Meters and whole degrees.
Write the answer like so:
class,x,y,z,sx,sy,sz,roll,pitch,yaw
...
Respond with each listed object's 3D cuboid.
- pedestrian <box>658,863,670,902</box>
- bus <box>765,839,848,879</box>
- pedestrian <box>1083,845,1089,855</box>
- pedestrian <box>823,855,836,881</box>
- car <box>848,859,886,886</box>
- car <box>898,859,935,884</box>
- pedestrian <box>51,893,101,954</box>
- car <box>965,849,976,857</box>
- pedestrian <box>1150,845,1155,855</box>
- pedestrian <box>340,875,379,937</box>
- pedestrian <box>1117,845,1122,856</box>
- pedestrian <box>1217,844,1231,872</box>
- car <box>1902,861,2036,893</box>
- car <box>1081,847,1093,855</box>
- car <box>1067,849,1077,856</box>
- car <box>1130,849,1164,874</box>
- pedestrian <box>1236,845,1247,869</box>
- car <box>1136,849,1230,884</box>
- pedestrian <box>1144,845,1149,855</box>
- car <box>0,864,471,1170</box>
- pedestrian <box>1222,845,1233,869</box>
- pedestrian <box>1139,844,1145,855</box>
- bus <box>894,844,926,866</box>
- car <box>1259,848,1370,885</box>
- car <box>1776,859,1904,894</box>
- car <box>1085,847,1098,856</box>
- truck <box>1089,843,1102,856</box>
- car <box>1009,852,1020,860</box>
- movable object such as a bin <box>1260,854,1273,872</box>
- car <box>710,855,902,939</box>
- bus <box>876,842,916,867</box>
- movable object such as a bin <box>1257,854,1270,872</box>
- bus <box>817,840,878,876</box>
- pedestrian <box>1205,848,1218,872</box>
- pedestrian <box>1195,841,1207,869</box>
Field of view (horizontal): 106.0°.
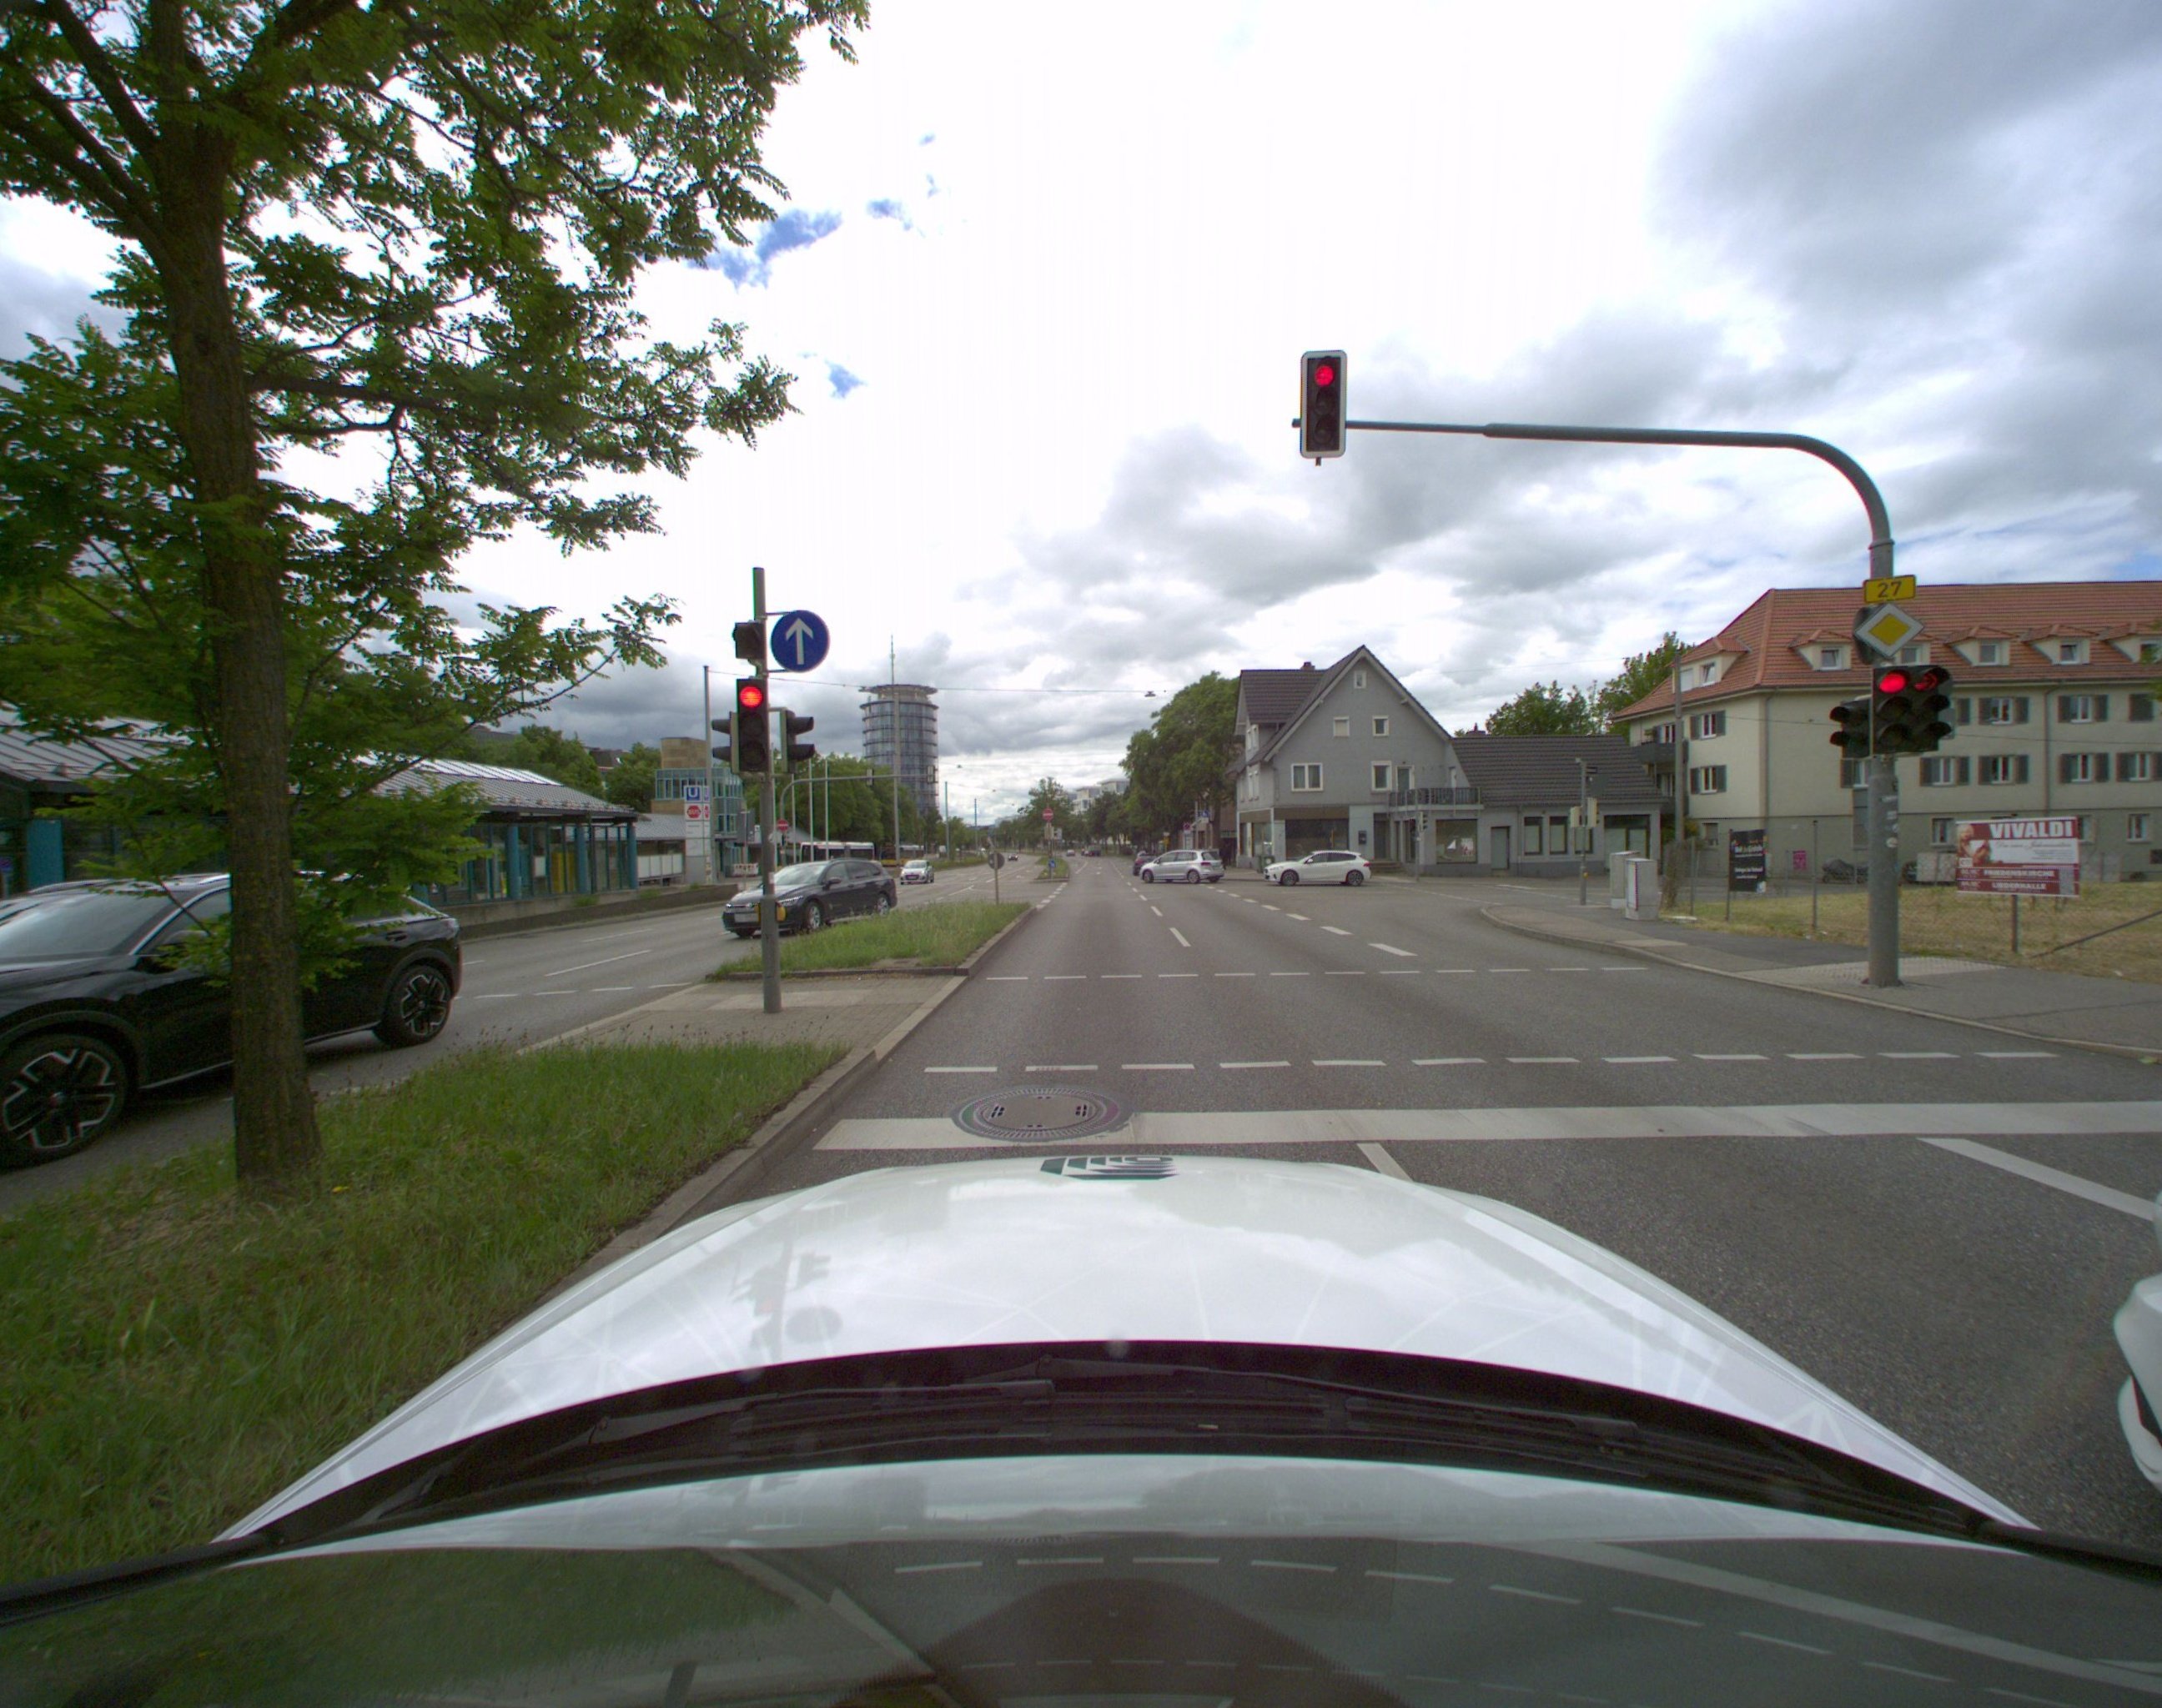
class,x,y,z,sx,sy,sz,roll,pitch,yaw
pedestrian,-17.418,1.180,34.029,0.420,1.591,0.353,-2,0,-28
bus,-24.320,0.406,72.871,2.975,3.250,10.186,-2,0,6
pedestrian,1.299,-0.911,199.802,1.231,2.402,1.306,-2,0,-8
pedestrian,-18.504,1.053,59.986,0.659,1.897,0.686,-2,0,1
car,-13.490,1.150,51.536,1.681,1.578,3.344,-2,0,-4
car,-10.337,1.058,51.325,1.680,1.462,3.552,-2,0,-3
pedestrian,-28.504,1.968,23.110,0.520,1.655,0.709,-1,0,-5
car,-27.251,-0.167,201.221,1.958,2.014,4.001,0,-1,2
pedestrian,11.113,-0.595,127.073,0.649,1.570,0.669,-2,0,-6
pedestrian,-21.322,1.509,24.073,0.530,1.762,0.752,-2,0,-14
pedestrian,8.304,-0.749,176.648,0.930,2.308,1.008,0,-1,-8
pedestrian,9.018,0.248,51.355,0.702,1.760,1.053,-2,0,3
car,39.814,1.024,36.578,3.972,1.377,1.871,0,0,2
car,1.296,-0.552,174.109,2.246,1.647,4.927,-2,0,-3
car,-1.904,-0.350,173.475,1.963,1.420,4.017,-2,0,-3
car,4.200,0.462,52.339,1.883,1.494,4.098,-2,0,0
pedestrian,11.406,0.190,58.009,0.701,1.662,0.872,-2,0,9
car,4.787,0.554,38.455,4.062,1.540,1.840,0,0,41
pedestrian,10.256,-0.591,127.361,0.649,1.570,0.669,-2,0,-6
car,-6.545,0.908,5.538,1.832,1.521,4.065,-4,0,-4
pedestrian,10.509,0.223,58.413,0.700,1.662,0.874,-2,0,15
pedestrian,11.089,-0.811,147.902,0.967,2.014,0.981,0,-1,1
bus,-26.032,0.127,124.330,3.134,3.225,7.765,-2,0,0
car,9.817,0.512,34.498,4.225,1.477,2.001,-1,0,2
car,34.044,0.987,36.617,3.972,1.537,1.871,0,0,2
car,2.104,-0.469,165.287,2.246,1.757,4.928,-2,0,-3
truck,2.761,-0.812,156.673,2.246,2.416,4.928,-1,0,-3
car,-12.411,0.354,151.750,1.696,1.492,3.562,-2,0,1
movable object such as a bin,10.034,0.479,43.959,0.527,0.979,0.737,-2,0,2
car,-5.692,0.830,17.496,1.696,1.481,4.307,-2,0,16
bus,-26.090,0.102,115.321,3.135,3.225,10.282,-2,0,0
movable object such as a bin,10.041,0.489,44.750,0.527,0.979,0.737,-2,0,2
bus,-23.348,0.374,81.871,2.975,3.270,7.889,-2,0,6
pedestrian,8.285,0.357,51.701,0.701,1.507,0.872,-2,0,8
pedestrian,7.705,0.076,52.316,0.701,1.780,0.872,-2,0,7
